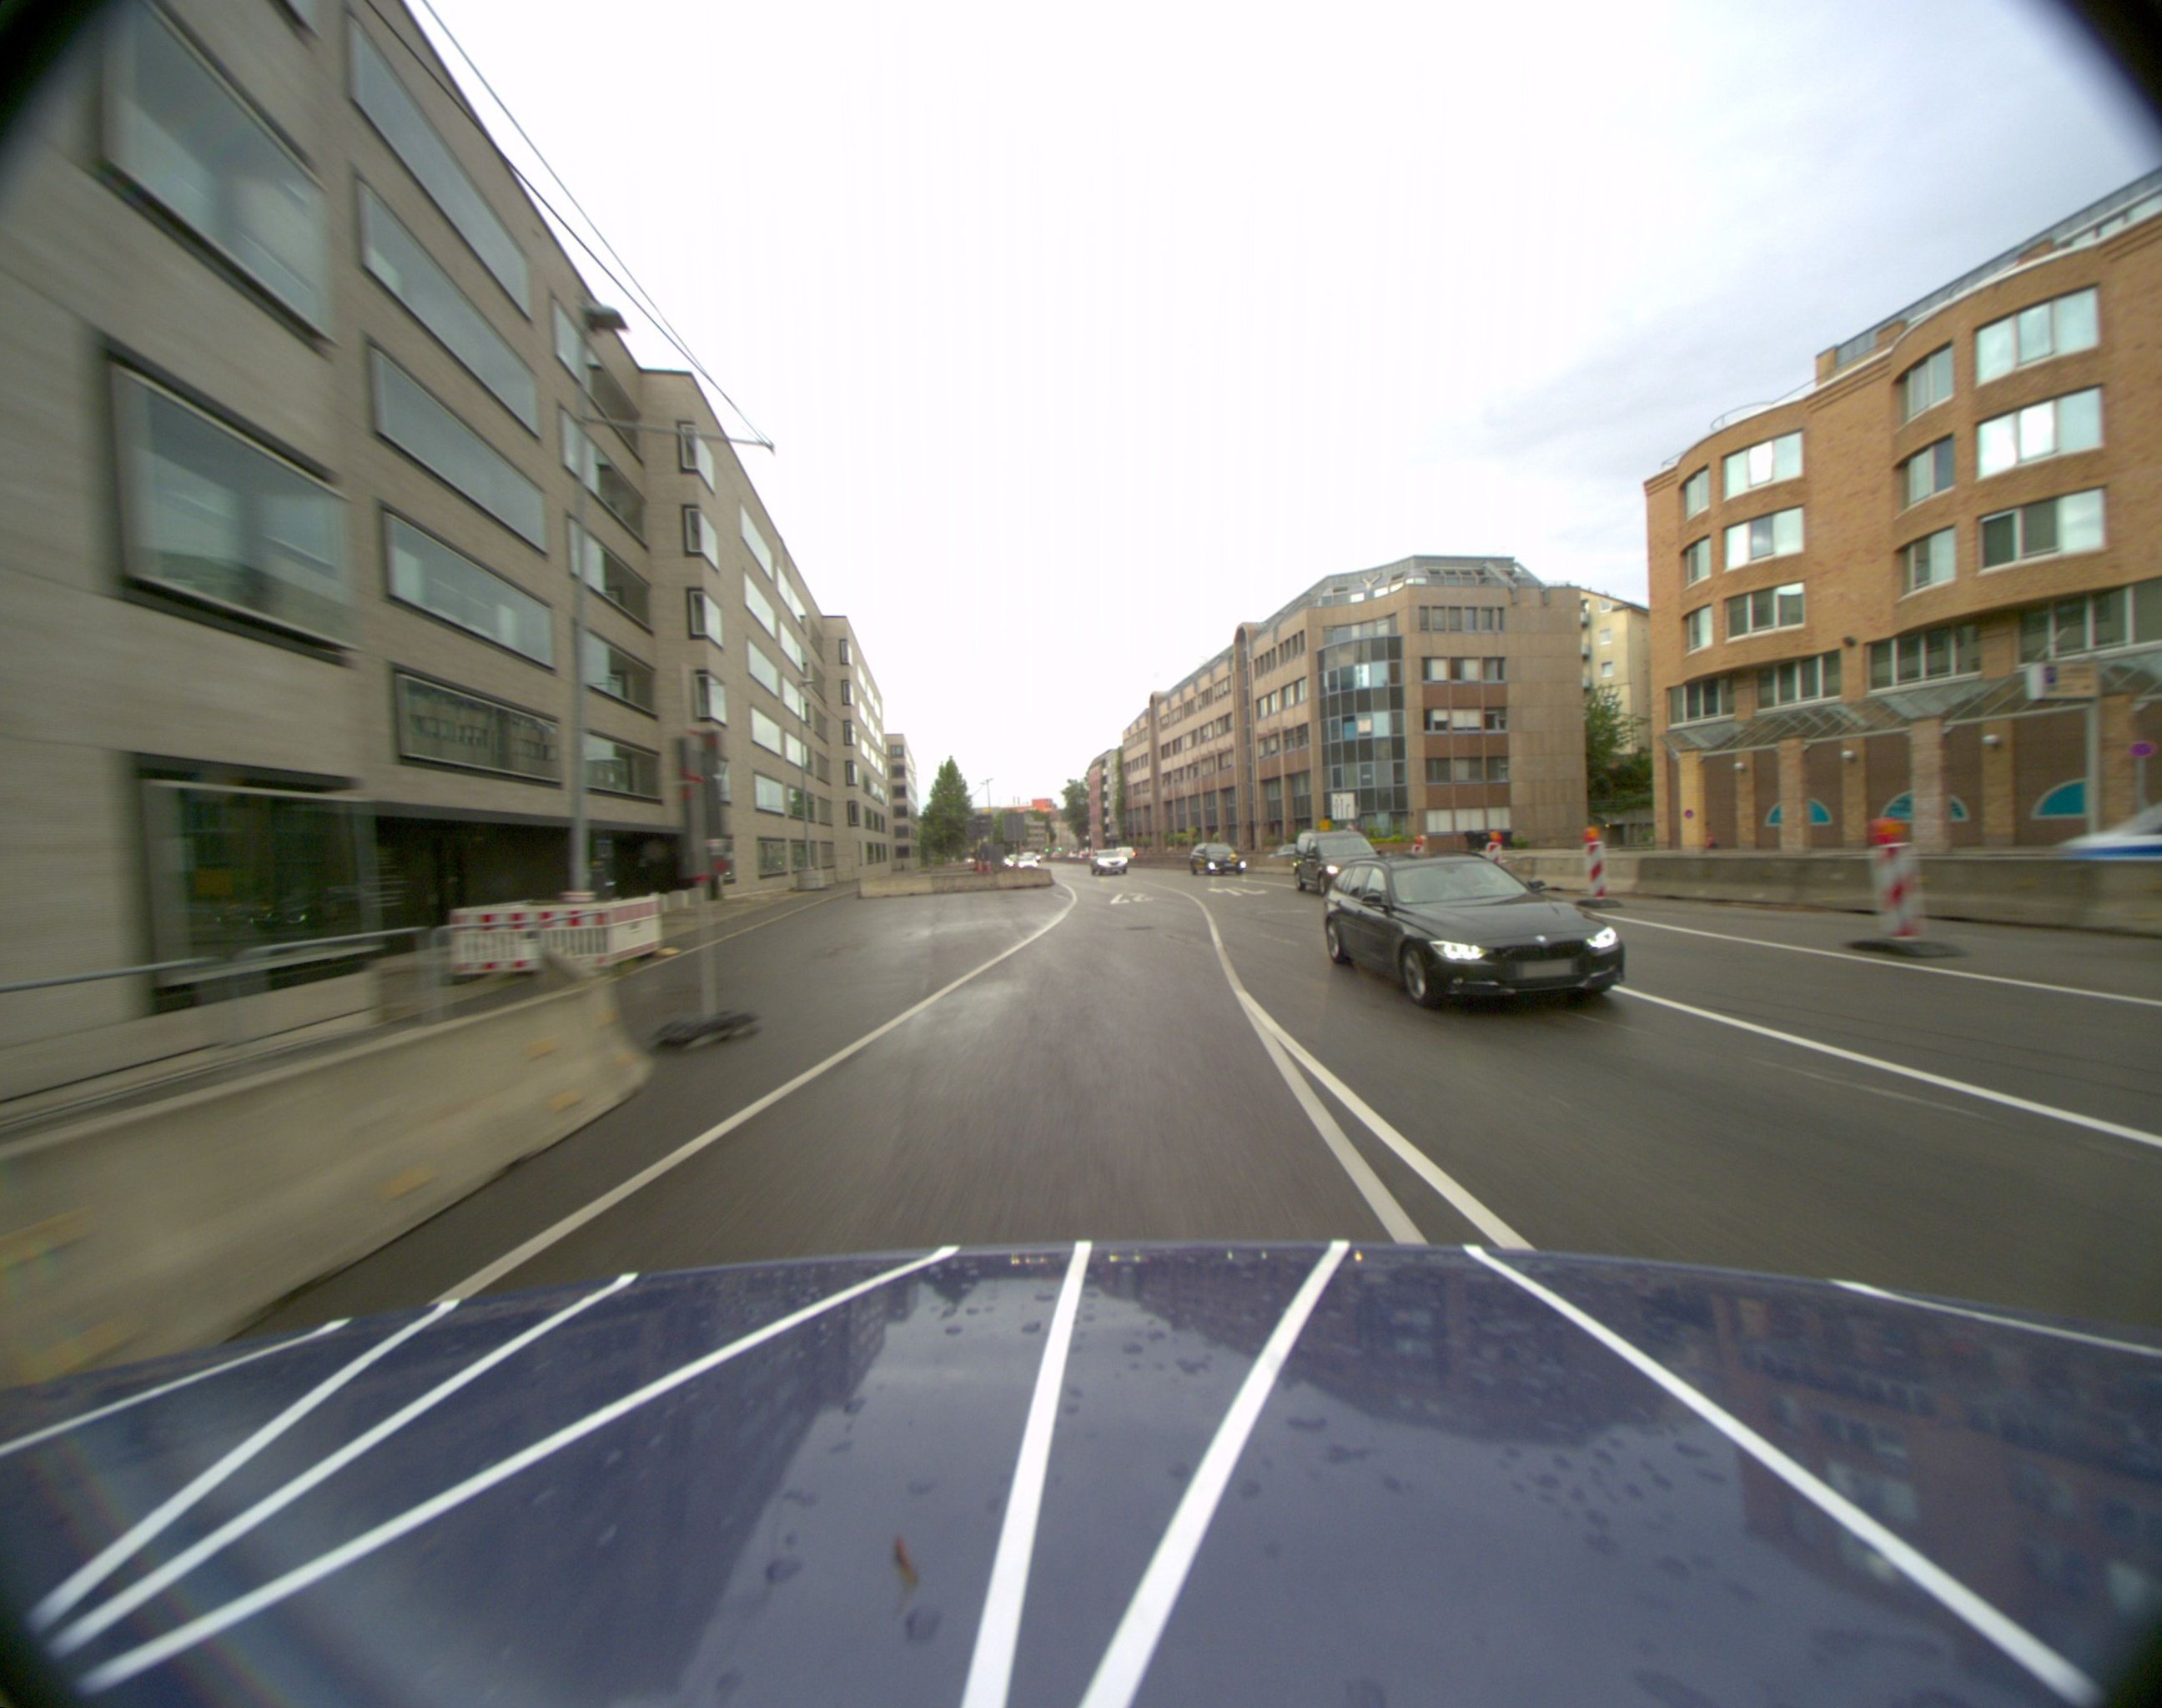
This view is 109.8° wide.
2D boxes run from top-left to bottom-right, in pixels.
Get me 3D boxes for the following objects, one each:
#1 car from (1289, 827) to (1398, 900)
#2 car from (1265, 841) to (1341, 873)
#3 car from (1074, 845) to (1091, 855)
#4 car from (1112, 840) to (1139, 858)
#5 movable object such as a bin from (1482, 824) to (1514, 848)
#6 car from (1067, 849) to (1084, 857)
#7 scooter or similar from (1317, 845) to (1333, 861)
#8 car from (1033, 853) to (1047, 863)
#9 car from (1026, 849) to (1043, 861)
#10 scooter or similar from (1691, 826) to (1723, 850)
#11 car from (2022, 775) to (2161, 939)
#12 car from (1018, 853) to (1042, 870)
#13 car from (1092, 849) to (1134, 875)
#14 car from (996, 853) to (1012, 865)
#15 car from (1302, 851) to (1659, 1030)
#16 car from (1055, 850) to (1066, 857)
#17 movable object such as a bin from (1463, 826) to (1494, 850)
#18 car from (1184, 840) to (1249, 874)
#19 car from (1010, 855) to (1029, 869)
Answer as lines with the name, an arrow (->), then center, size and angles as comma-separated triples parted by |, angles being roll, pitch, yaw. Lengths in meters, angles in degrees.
car -> 7.402, 0.223, 21.860 | 1.798, 1.790, 4.251 | -3, 1, 4
car -> 11.279, 0.170, 38.948 | 2.000, 1.451, 4.224 | -3, 0, -10
car -> 0.148, -0.495, 101.087 | 1.618, 1.224, 3.723 | -3, 0, -10
car -> 4.753, -0.490, 82.287 | 1.892, 1.773, 4.873 | -3, 0, -9
movable object such as a bin -> 27.148, -1.173, 49.461 | 1.246, 1.471, 1.350 | -3, 1, -2
car -> -0.939, -0.125, 129.029 | 1.851, 1.262, 4.544 | -3, 0, -12
scooter or similar -> 16.628, -0.037, 51.870 | 0.450, 1.056, 1.043 | -3, 1, -20
car -> -6.749, 0.661, 124.268 | 1.773, 1.524, 4.652 | -3, 0, -10
car -> -6.362, 0.128, 103.355 | 1.773, 1.524, 4.652 | -3, 0, -10
scooter or similar -> 28.524, -0.718, 34.634 | 0.450, 1.056, 1.043 | -3, 1, -20
car -> 13.335, -0.006, 7.527 | 1.998, 1.874, 4.870 | -3, 0, 1
car -> -5.070, 0.703, 74.930 | 1.773, 1.524, 4.652 | -3, 0, -10
car -> 2.026, 0.491, 50.022 | 1.773, 1.524, 4.652 | -3, 0, -10
car -> -10.707, 0.656, 105.205 | 1.773, 1.524, 4.652 | -3, 0, -10
car -> 4.072, 0.735, 8.799 | 1.772, 1.435, 4.656 | -3, 0, 2
car -> -4.079, -0.063, 150.248 | 1.725, 1.312, 3.693 | -3, 0, -10
movable object such as a bin -> 25.784, -1.026, 49.297 | 1.246, 1.471, 1.350 | -3, 1, -2
car -> 6.736, 0.148, 38.217 | 1.773, 1.524, 4.352 | -3, 0, -10
car -> -7.196, 0.905, 88.429 | 1.773, 1.524, 4.652 | -3, 0, -10
